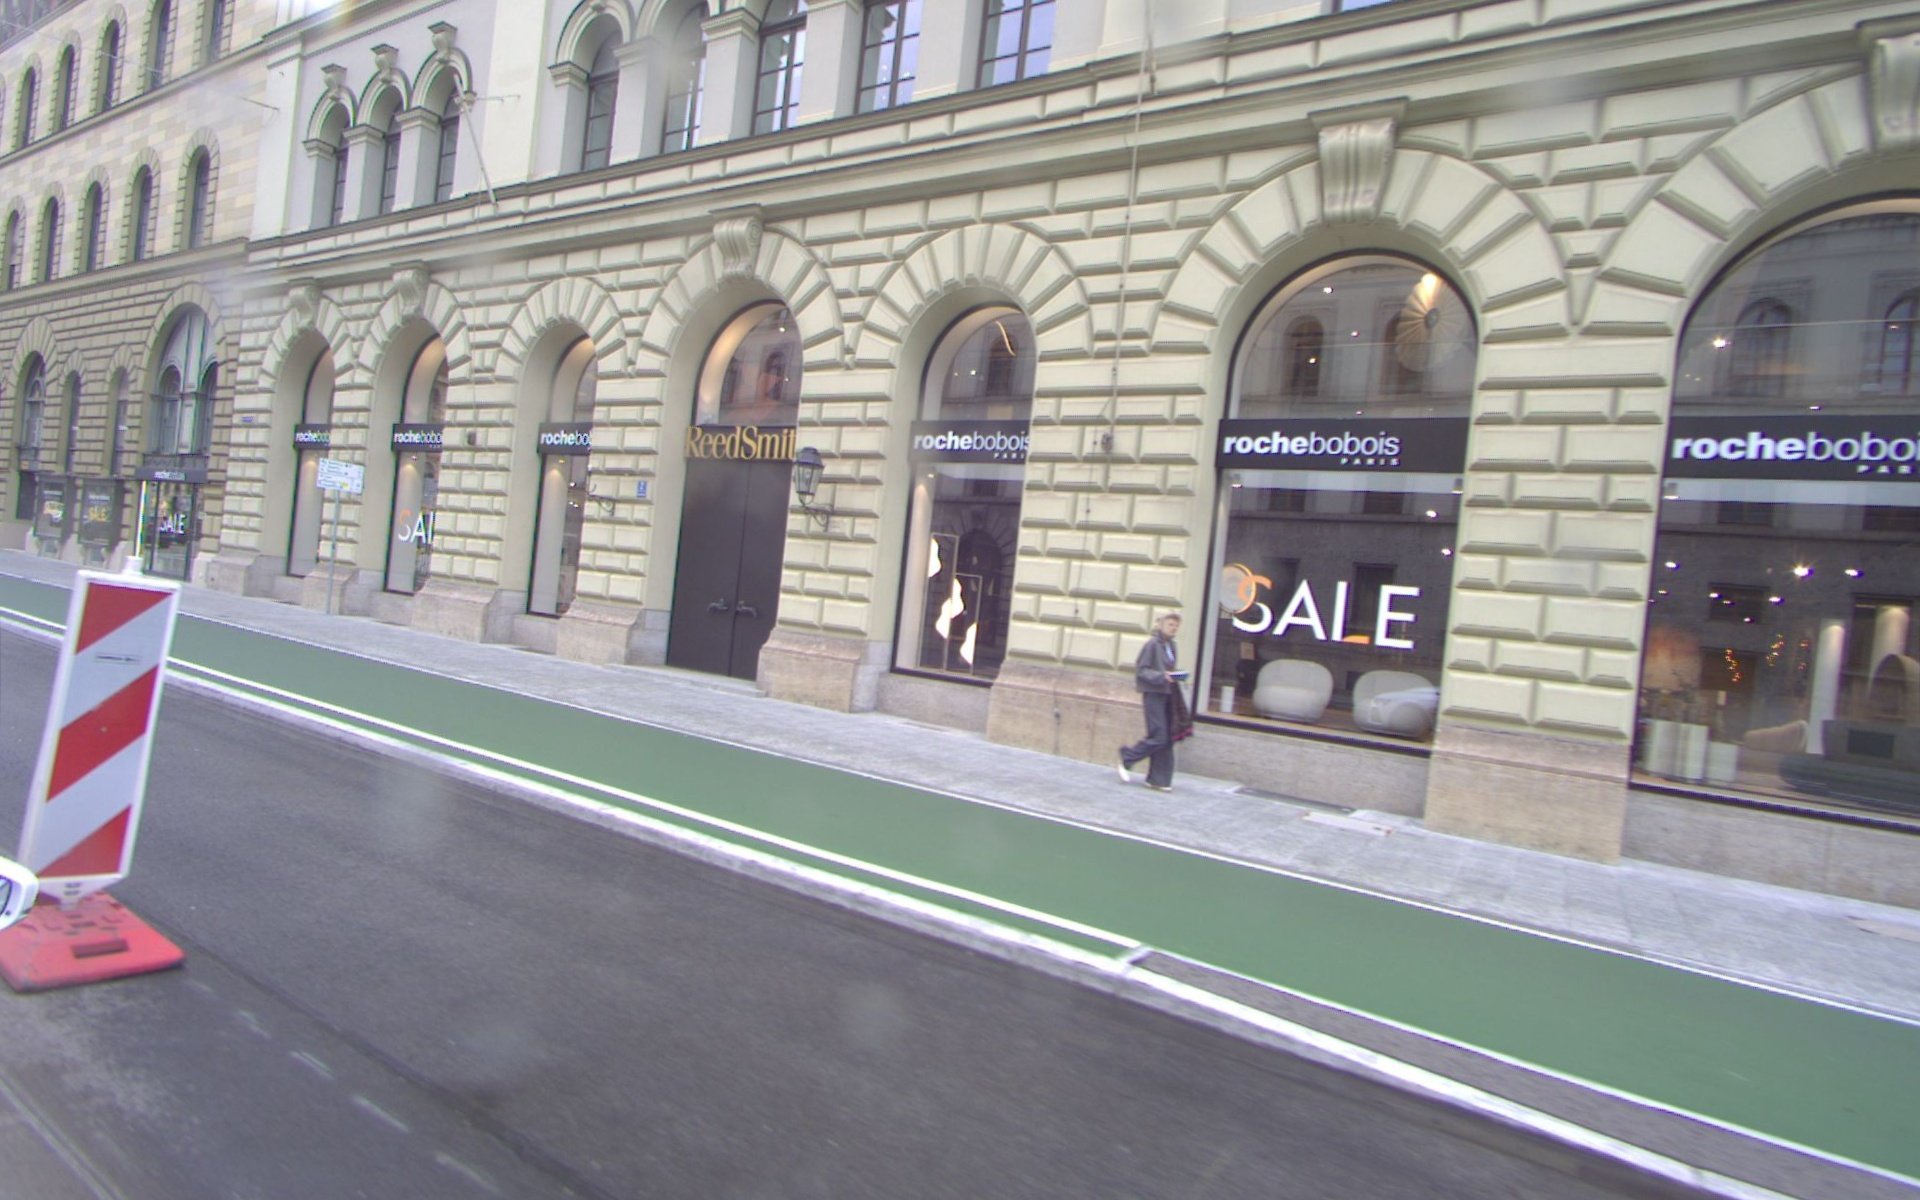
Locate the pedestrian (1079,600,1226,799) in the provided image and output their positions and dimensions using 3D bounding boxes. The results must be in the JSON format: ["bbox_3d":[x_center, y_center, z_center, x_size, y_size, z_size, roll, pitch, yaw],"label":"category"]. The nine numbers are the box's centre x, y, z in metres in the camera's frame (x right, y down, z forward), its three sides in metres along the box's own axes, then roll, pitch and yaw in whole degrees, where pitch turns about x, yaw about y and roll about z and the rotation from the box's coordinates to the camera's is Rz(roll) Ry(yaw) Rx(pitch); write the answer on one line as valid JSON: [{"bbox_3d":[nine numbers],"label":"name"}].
[{"bbox_3d":[1.860,0.931,9.731,1.068,1.726,0.632,7,1,32],"label":"pedestrian"}]
